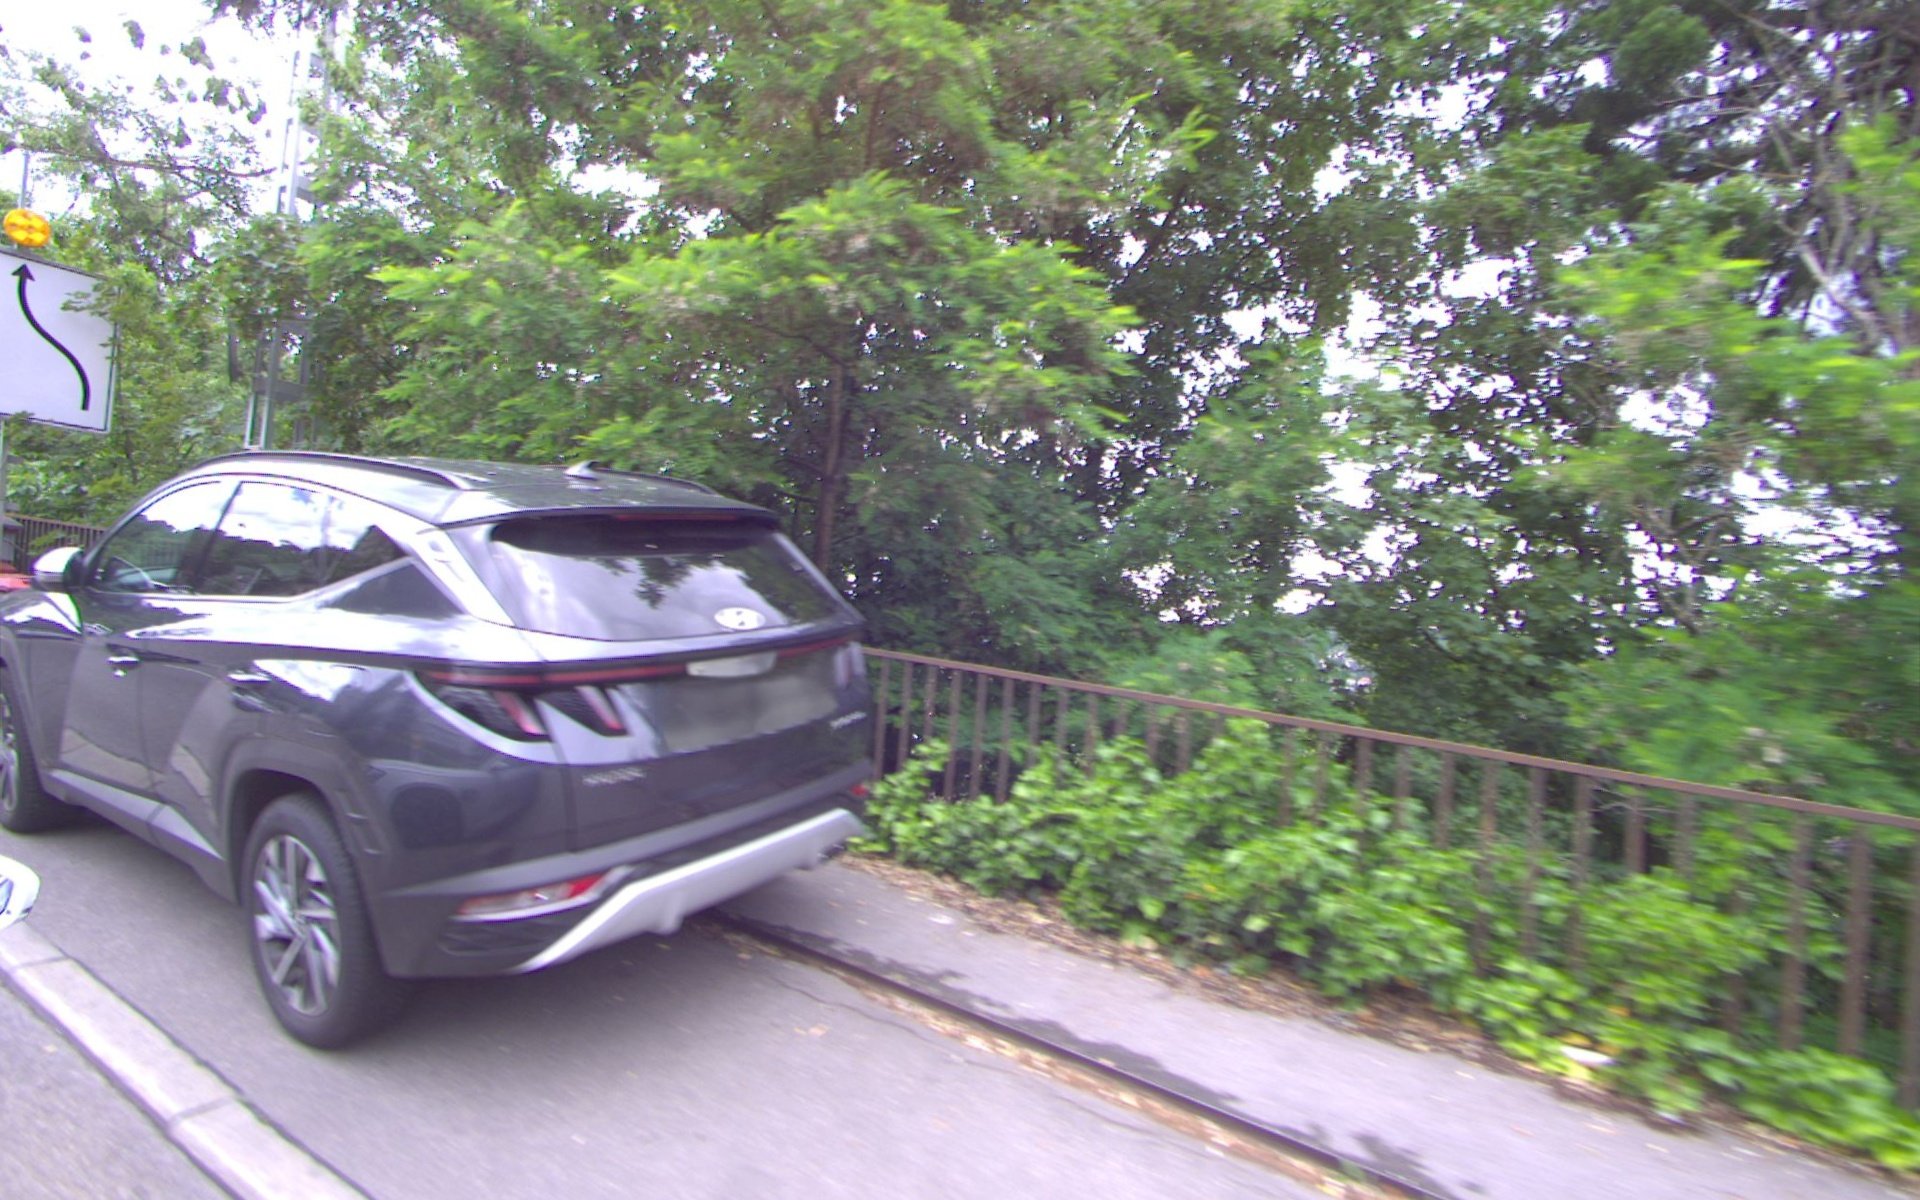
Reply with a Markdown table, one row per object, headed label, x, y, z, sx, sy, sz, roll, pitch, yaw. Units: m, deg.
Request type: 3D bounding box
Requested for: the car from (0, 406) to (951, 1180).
| label | x | y | z | sx | sy | sz | roll | pitch | yaw |
| --- | --- | --- | --- | --- | --- | --- | --- | --- | --- |
| car | -2.336 | 0.225 | 4.103 | 4.210 | 1.698 | 1.851 | 7 | 5 | 34 |
